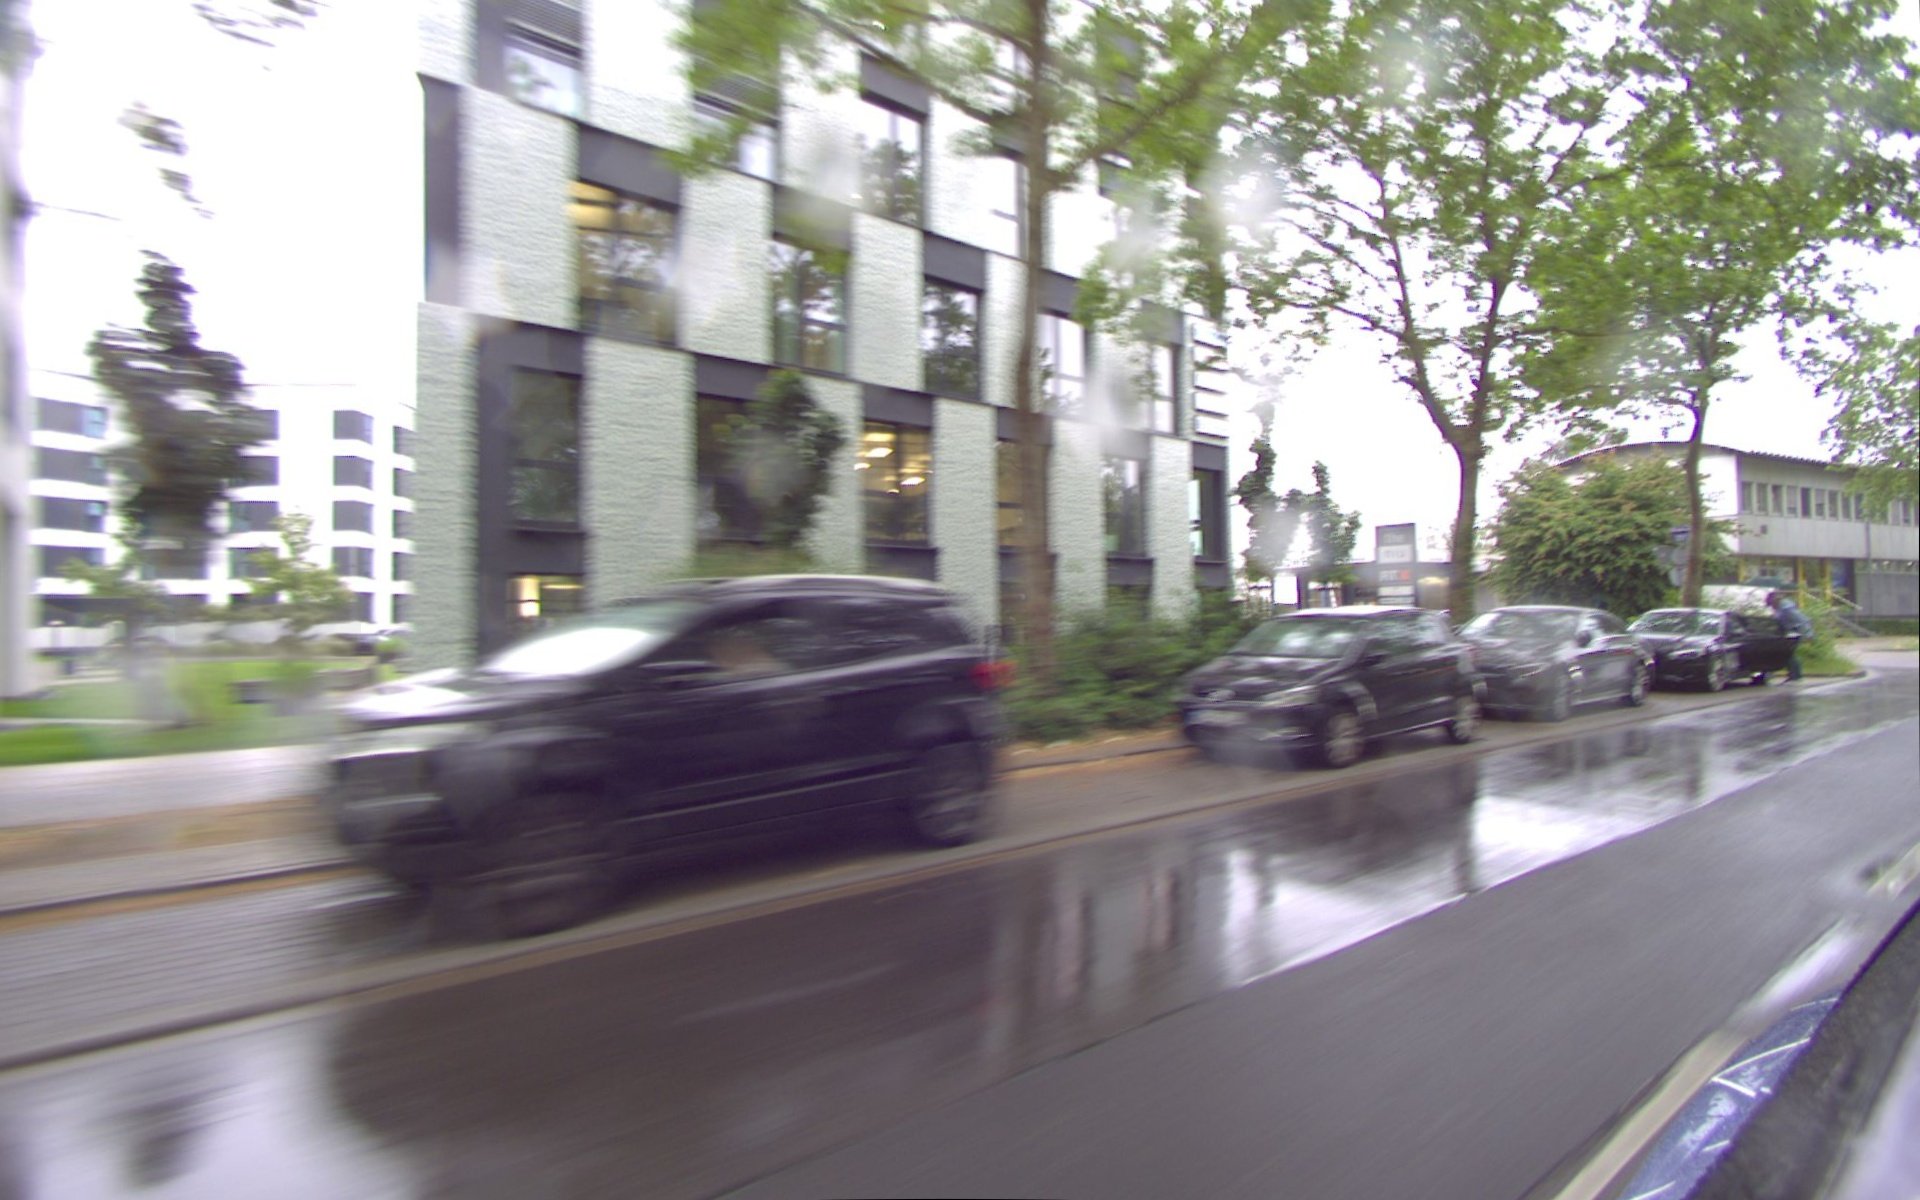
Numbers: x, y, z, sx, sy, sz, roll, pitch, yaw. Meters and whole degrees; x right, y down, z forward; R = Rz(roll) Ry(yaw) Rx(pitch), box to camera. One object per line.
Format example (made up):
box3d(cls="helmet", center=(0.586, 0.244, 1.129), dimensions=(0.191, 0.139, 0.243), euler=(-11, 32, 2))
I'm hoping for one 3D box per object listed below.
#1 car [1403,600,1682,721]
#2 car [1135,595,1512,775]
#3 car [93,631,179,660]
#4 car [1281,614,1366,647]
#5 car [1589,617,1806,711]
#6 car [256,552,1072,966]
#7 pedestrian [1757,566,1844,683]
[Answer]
box3d(cls="car", center=(8.376, 0.765, 14.343), dimensions=(5.011, 1.447, 1.747), euler=(1, -2, -39))
box3d(cls="car", center=(3.807, 0.738, 10.331), dimensions=(4.007, 1.495, 1.747), euler=(1, -2, -38))
box3d(cls="car", center=(-48.524, 2.663, 59.692), dimensions=(1.843, 1.564, 3.858), euler=(0, -1, 2))
box3d(cls="car", center=(19.275, 1.604, 53.896), dimensions=(1.854, 1.549, 4.313), euler=(-3, -1, -20))
box3d(cls="car", center=(13.424, 1.067, 18.330), dimensions=(4.767, 1.446, 1.749), euler=(1, 1, -36))
box3d(cls="car", center=(-1.443, 0.646, 5.973), dimensions=(4.294, 1.587, 1.746), euler=(1, -2, -41))
box3d(cls="pedestrian", center=(15.068, 0.440, 18.163), dimensions=(0.887, 2.040, 0.829), euler=(-1, -2, 16))
